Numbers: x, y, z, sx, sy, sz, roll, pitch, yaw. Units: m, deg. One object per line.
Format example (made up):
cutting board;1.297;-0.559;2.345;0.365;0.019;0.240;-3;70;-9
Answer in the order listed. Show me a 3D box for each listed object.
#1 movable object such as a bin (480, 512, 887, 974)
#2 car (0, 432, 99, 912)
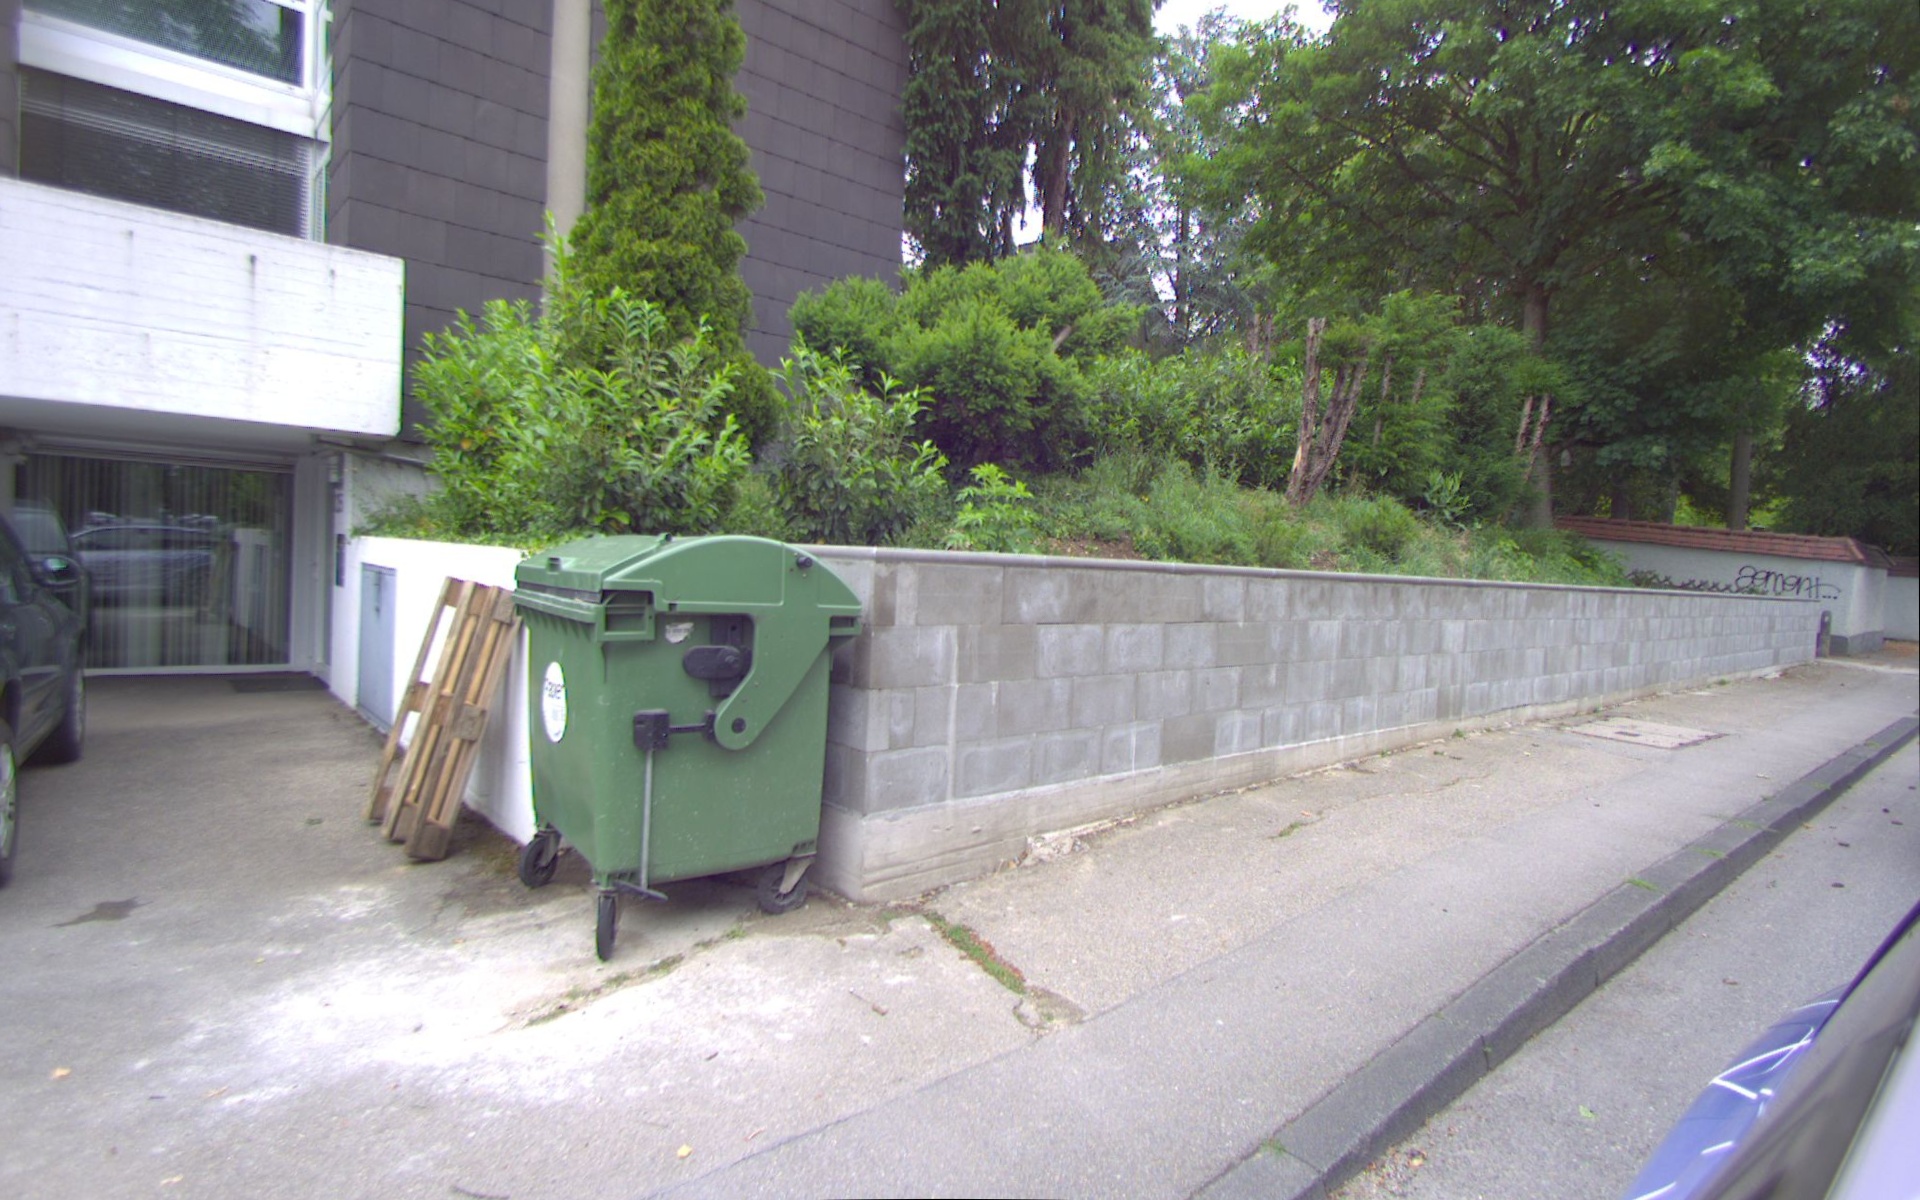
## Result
movable object such as a bin;-1.163;0.417;4.098;1.096;1.469;1.407;0;3;-40
car;-5.027;0.148;4.371;1.712;1.671;3.914;0;4;-36
